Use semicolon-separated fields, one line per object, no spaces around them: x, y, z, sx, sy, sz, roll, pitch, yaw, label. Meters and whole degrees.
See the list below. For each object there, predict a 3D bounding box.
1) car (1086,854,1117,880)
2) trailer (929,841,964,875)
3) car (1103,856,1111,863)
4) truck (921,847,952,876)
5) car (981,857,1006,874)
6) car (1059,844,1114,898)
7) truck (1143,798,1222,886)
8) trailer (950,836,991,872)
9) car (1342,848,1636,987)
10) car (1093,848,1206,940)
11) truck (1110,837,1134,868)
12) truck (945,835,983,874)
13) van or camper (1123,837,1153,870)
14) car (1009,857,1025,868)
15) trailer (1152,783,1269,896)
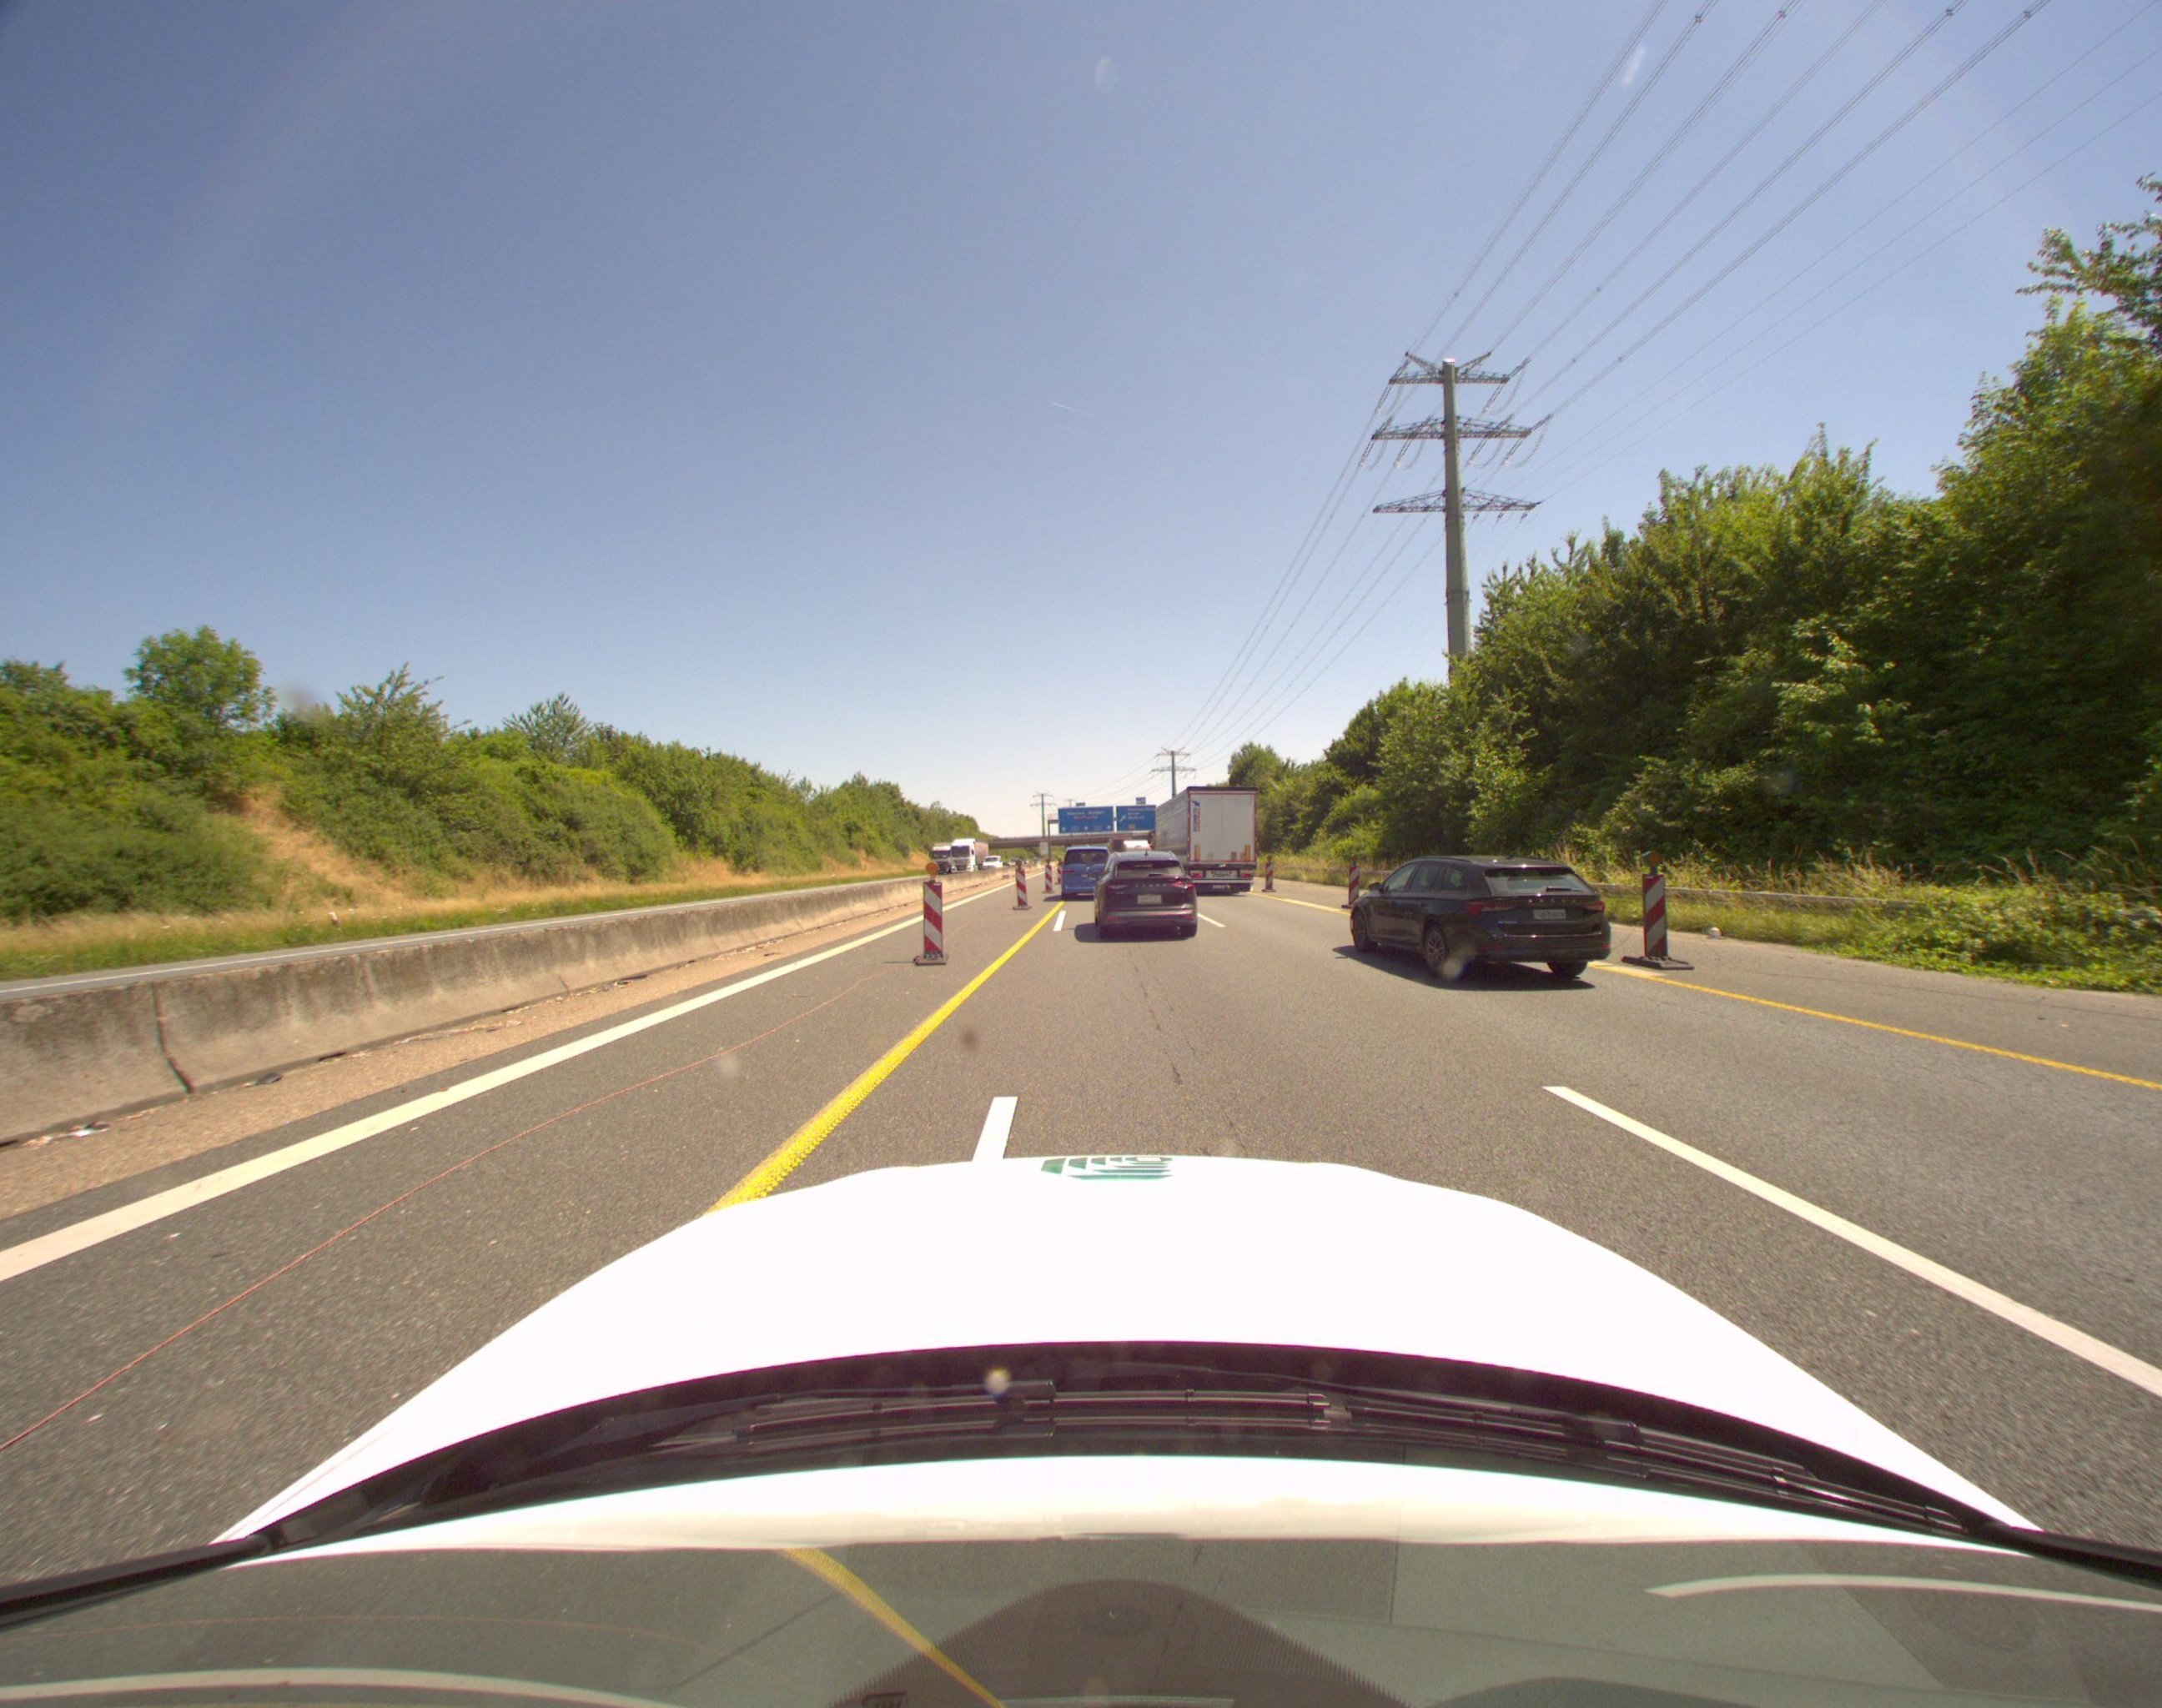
1.270;0.800;52.898;1.890;1.509;4.442;1;2;0;car
-17.610;0.501;107.464;2.472;4.180;12.084;-2;0;0;trailer
6.055;1.334;189.656;1.890;1.509;4.442;1;2;0;car
-17.654;0.901;99.897;2.456;3.288;6.924;-2;0;0;truck
-9.546;1.235;89.086;1.860;1.792;5.456;-2;0;1;car
0.178;0.618;29.999;1.890;1.841;4.441;0;-1;0;car
5.082;-0.577;42.291;3.015;4.087;7.792;-1;0;-1;truck
-13.748;-0.009;102.593;3.150;4.180;13.682;-2;0;0;trailer
5.122;0.691;11.021;1.773;1.489;4.464;0;0;0;car
1.228;0.691;16.460;1.890;1.592;4.441;-1;0;0;car
5.702;-0.130;114.696;3.066;4.146;13.059;0;0;2;truck
-13.754;0.066;96.384;3.153;4.224;7.414;-2;0;0;truck
5.421;-0.060;77.686;2.577;2.968;6.087;1;0;2;van or camper
-9.176;1.249;117.613;1.755;1.471;4.636;-2;0;2;car
5.192;-0.533;35.299;3.056;4.042;11.483;-1;0;-1;trailer
